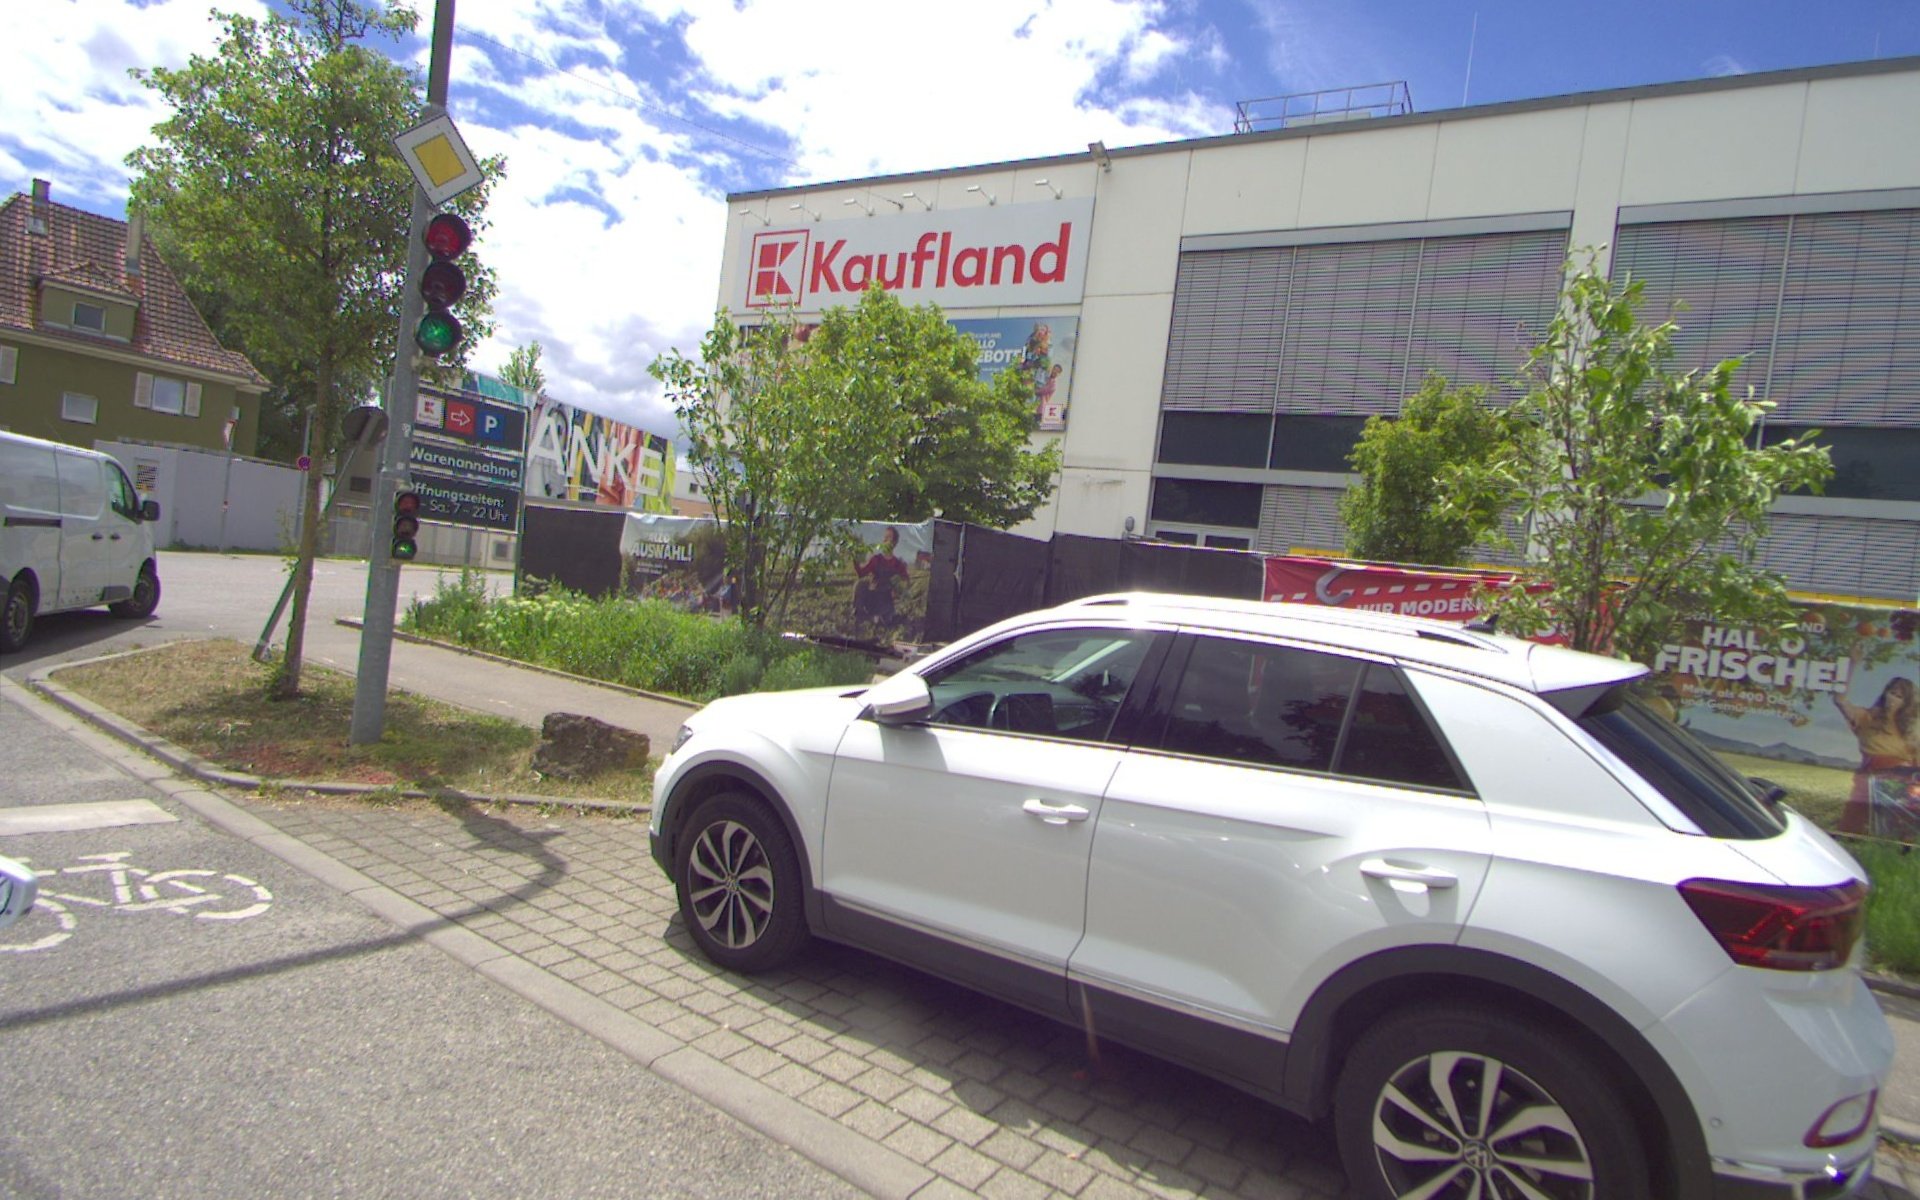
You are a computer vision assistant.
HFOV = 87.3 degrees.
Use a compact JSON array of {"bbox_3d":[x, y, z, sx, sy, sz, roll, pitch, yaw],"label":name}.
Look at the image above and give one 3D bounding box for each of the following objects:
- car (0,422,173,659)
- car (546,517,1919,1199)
[{"bbox_3d":[-9.813,-0.724,10.036,1.920,1.986,4.801,6,1,-25],"label":"car"},{"bbox_3d":[0.585,0.694,3.737,4.315,1.638,1.736,6,3,33],"label":"car"}]
